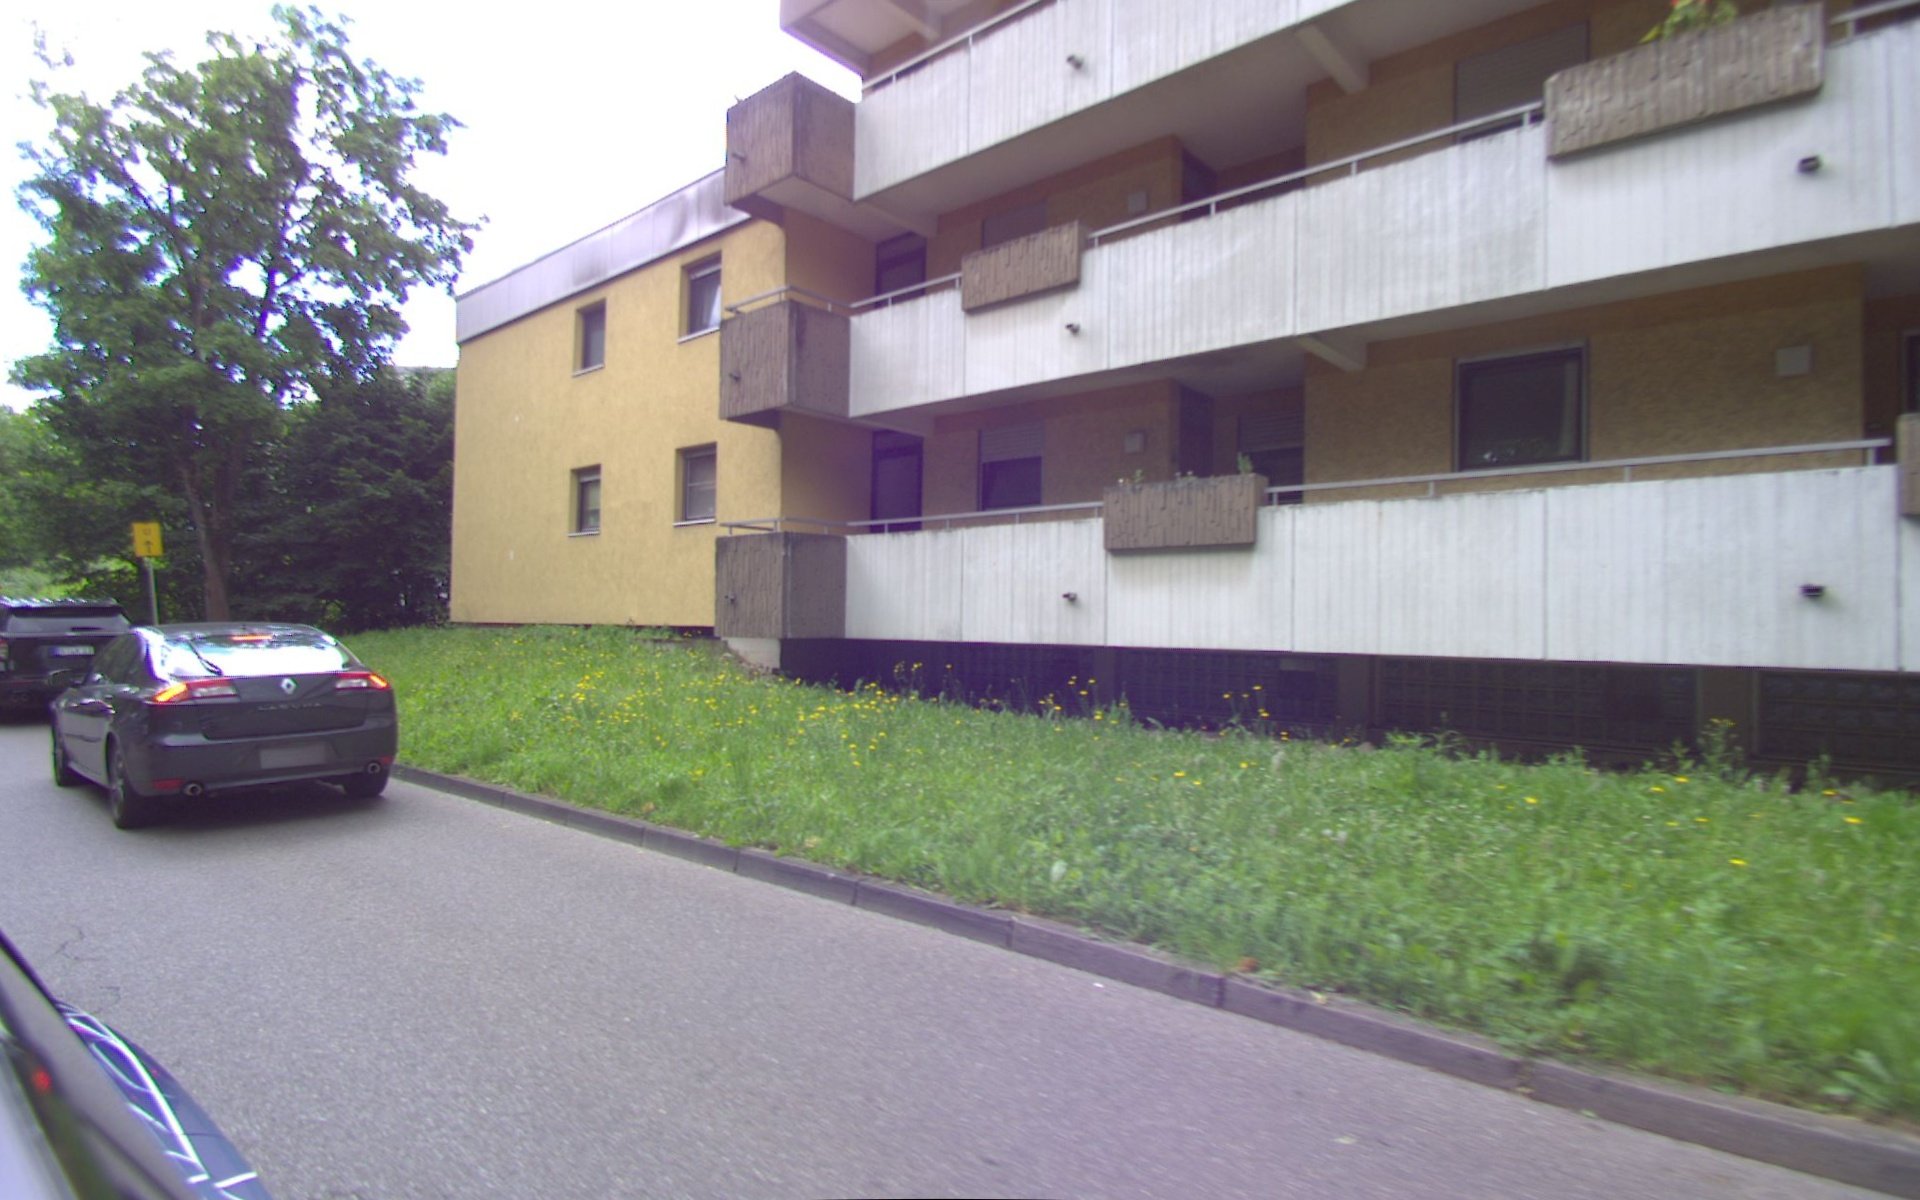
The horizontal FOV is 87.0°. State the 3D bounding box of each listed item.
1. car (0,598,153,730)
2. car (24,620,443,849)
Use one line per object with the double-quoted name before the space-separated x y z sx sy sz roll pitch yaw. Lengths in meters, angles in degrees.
"car" -14.069 0.891 15.456 5.056 1.730 1.893 -1 -2 42
"car" -6.238 0.881 8.482 4.421 1.422 1.893 -1 -2 41
